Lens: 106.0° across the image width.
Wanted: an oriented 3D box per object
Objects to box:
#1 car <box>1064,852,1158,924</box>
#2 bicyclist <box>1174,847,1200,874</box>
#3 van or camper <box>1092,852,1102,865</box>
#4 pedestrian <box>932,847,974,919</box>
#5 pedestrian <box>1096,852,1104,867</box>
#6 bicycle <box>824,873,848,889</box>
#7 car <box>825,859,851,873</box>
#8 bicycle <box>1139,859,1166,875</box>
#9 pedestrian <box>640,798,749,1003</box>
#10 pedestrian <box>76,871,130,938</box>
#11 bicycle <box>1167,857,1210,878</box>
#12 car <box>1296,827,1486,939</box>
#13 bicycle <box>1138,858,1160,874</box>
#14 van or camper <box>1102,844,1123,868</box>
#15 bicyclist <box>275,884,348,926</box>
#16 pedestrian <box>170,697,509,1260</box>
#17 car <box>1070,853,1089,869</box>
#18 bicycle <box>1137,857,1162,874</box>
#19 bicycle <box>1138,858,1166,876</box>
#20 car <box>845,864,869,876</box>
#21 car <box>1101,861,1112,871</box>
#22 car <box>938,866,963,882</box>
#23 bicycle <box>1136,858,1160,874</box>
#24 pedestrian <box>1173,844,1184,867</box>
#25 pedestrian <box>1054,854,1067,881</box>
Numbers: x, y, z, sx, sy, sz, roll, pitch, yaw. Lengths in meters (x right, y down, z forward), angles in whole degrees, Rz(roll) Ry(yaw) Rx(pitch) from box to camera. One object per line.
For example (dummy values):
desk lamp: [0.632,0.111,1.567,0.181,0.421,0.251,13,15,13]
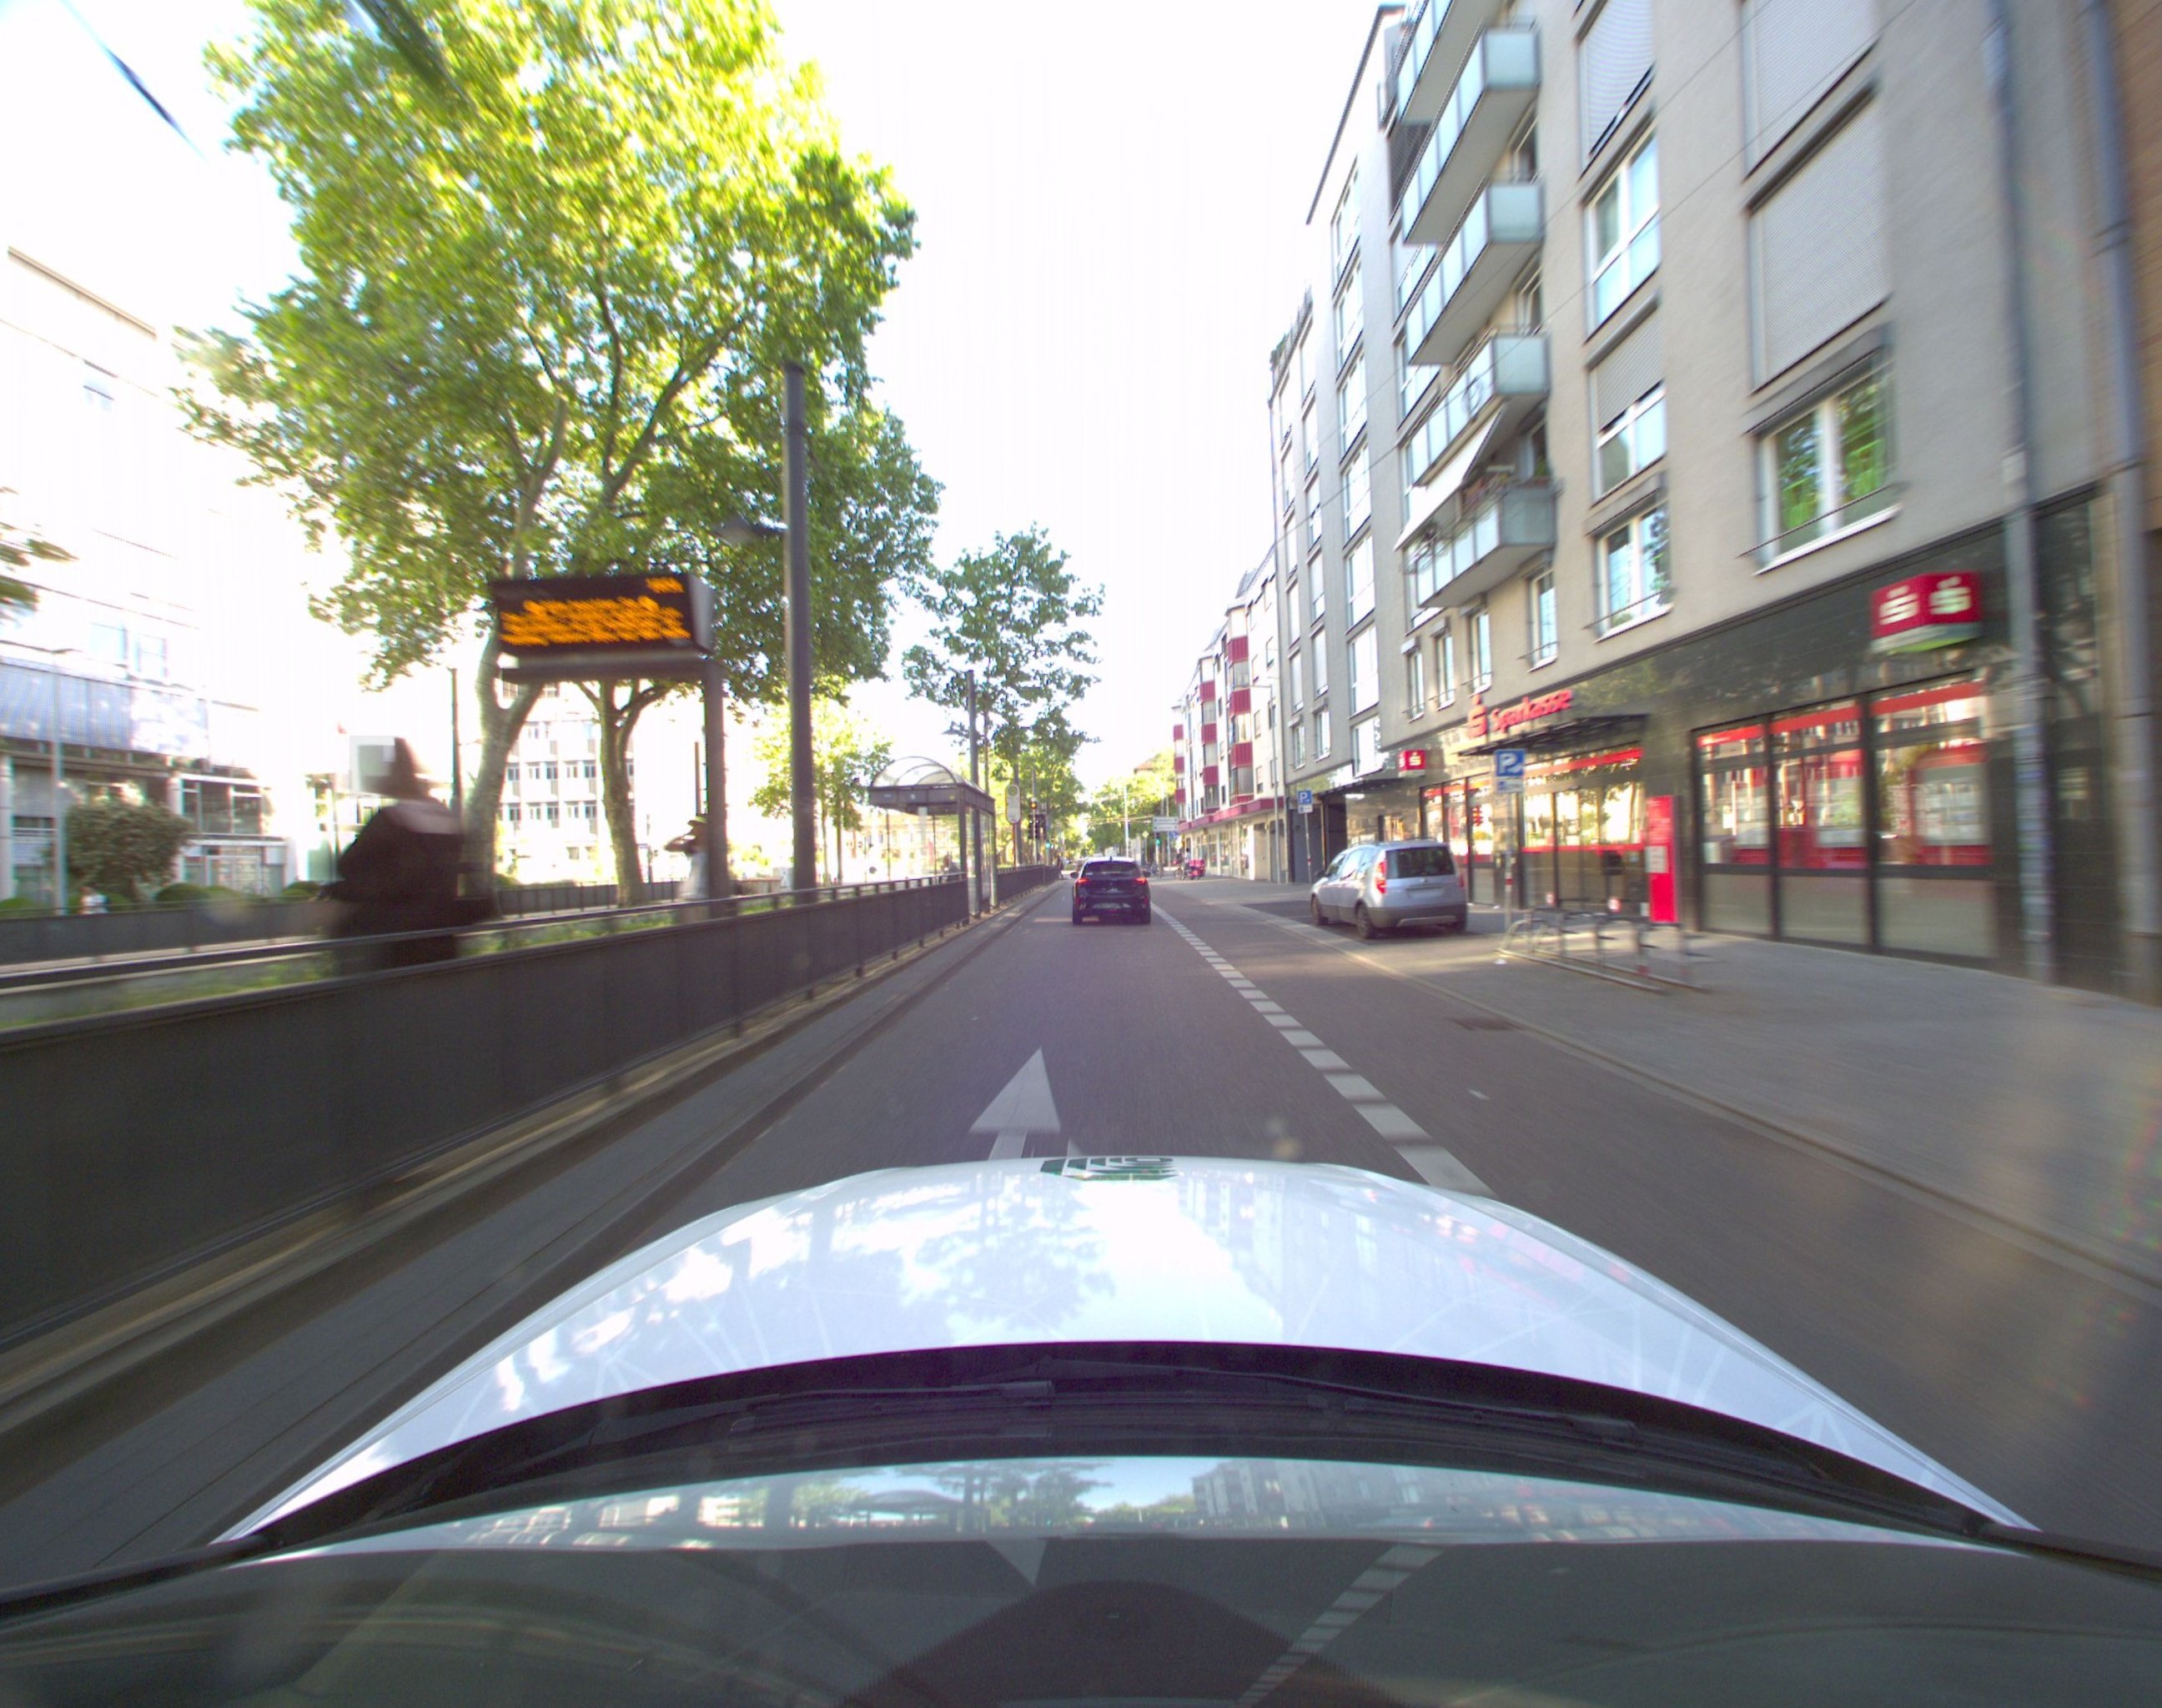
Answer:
car: [0.679,0.721,18.906,1.898,1.425,4.216,-2,-1,1]
bicyclist: [6.289,0.399,48.322,1.065,1.540,1.067,-1,-1,-37]
van or camper: [3.756,1.176,190.786,2.477,2.994,5.435,0,-1,1]
pedestrian: [-2.453,0.550,15.657,0.624,1.319,0.801,-2,-1,1]
pedestrian: [2.710,0.765,115.978,1.033,2.024,1.212,-1,-1,-1]
bicycle: [-15.533,1.701,51.675,0.808,0.946,1.729,-2,-1,6]
car: [-36.555,1.746,122.585,1.984,2.014,4.731,-2,-1,5]
bicycle: [5.267,0.961,60.087,1.935,1.170,0.571,-2,-1,-3]
pedestrian: [-3.715,0.427,7.876,0.643,1.871,0.753,-1,-1,1]
pedestrian: [-29.419,1.498,24.513,0.604,1.976,0.833,0,-1,-2]
bicycle: [6.332,0.797,48.286,0.968,1.183,2.569,-1,-1,-37]
car: [5.416,0.480,14.892,1.826,1.622,4.285,-5,-1,1]
bicycle: [5.161,0.917,62.165,1.615,1.199,0.497,-2,-1,4]
van or camper: [4.485,0.333,117.286,2.368,3.125,7.547,-5,-1,-1]
bicyclist: [-24.095,1.583,25.530,1.001,1.250,1.373,0,0,-2]
pedestrian: [-2.749,0.421,3.092,0.644,1.887,0.661,-2,-1,1]
car: [-0.111,0.762,85.510,1.826,1.623,4.285,0,-1,1]
bicycle: [5.201,0.882,61.593,1.823,1.221,0.496,-2,-1,3]
bicycle: [5.287,0.968,60.760,1.973,1.199,0.590,-2,-1,-4]
car: [-33.601,2.403,122.047,1.984,1.703,4.384,-2,-1,5]
car: [4.543,2.098,144.095,1.784,1.510,3.874,-3,-1,1]
car: [-16.619,2.564,103.923,1.983,1.948,4.432,-2,0,7]
bicycle: [5.202,0.936,62.918,1.793,1.199,0.546,-2,-2,4]
pedestrian: [8.022,0.125,67.010,0.720,1.858,0.801,-2,-1,0]
pedestrian: [-1.382,0.903,54.867,0.730,1.747,0.713,-2,-1,5]
